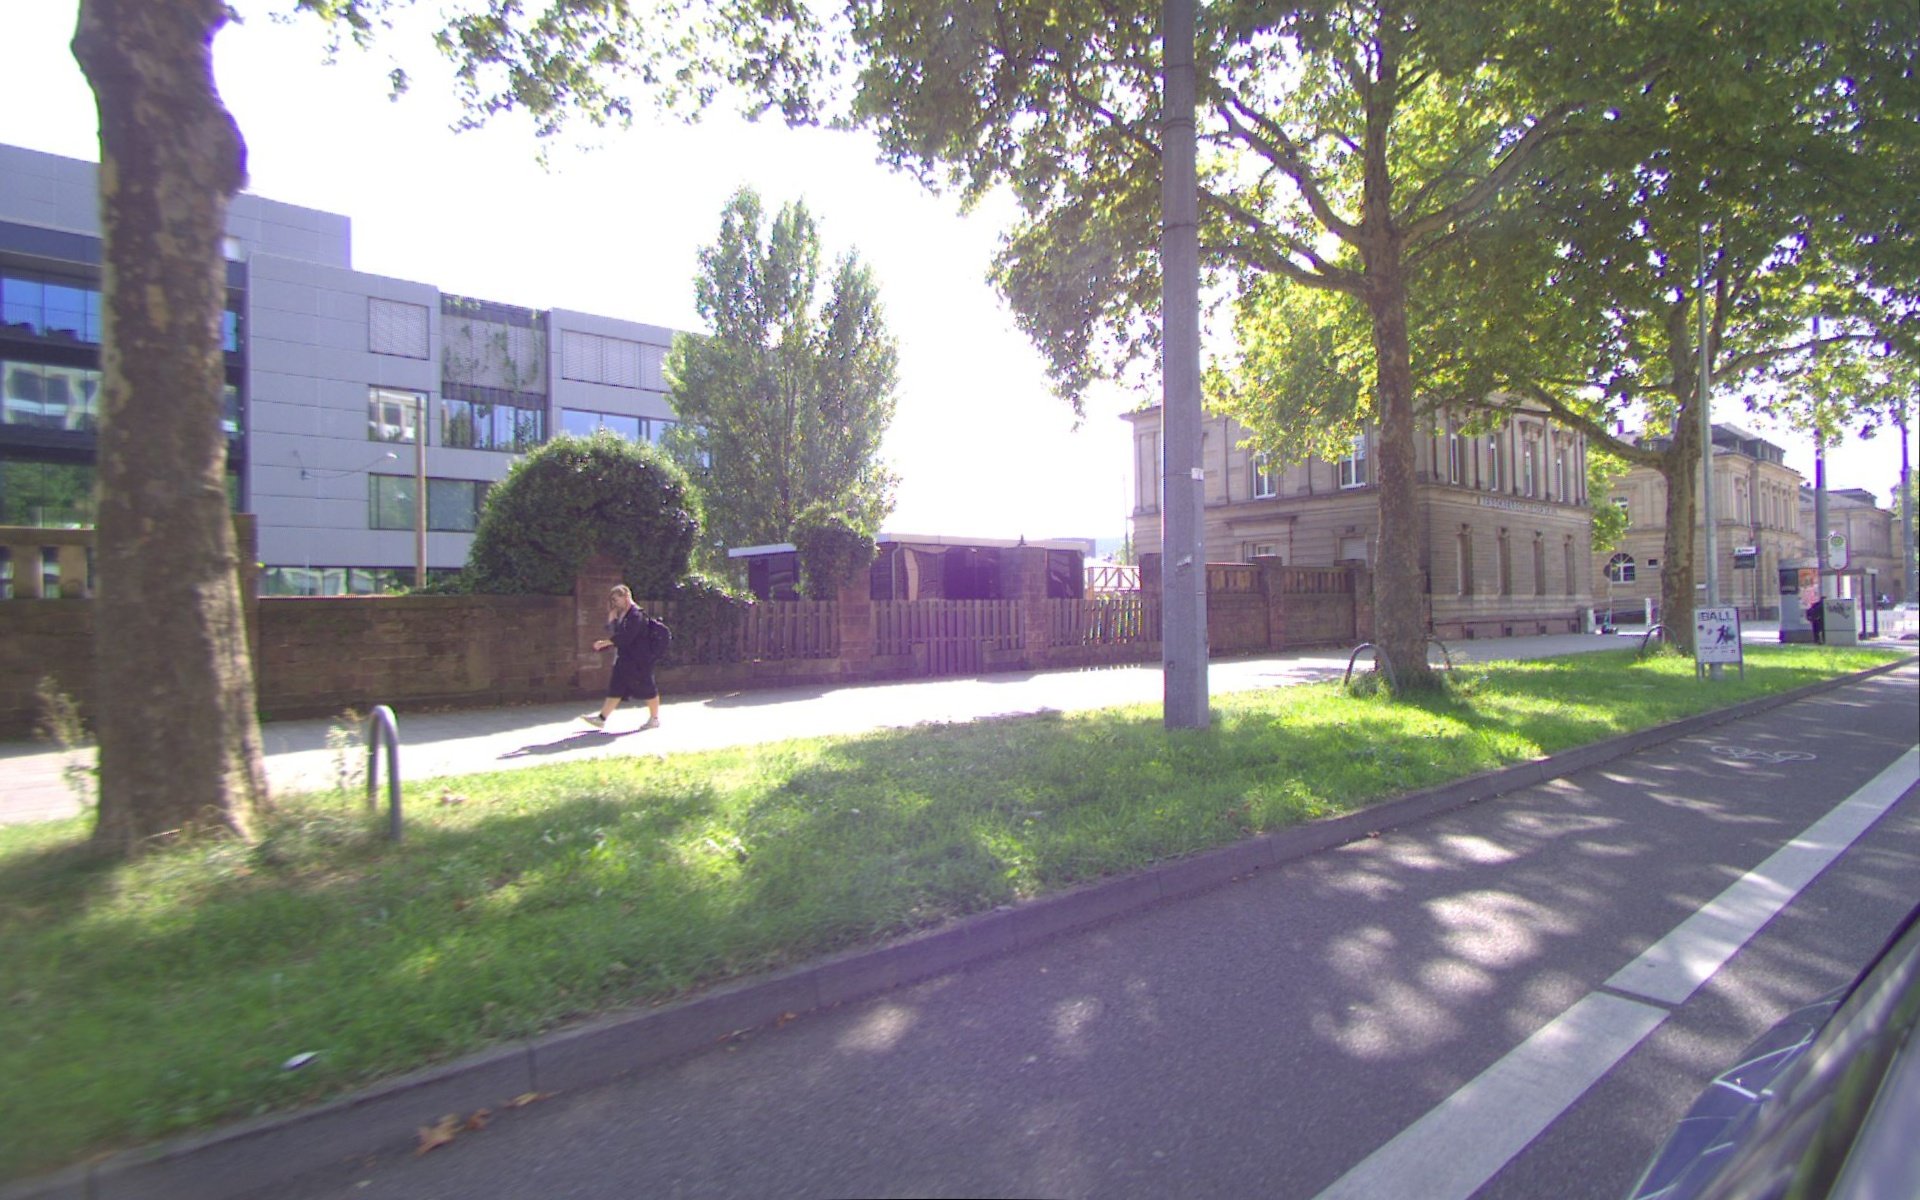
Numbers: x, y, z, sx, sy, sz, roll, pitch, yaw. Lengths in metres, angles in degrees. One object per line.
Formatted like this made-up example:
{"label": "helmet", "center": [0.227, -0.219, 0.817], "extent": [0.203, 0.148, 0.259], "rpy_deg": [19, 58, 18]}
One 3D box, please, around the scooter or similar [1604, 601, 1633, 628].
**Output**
{"label": "scooter or similar", "center": [31.029, 0.675, 47.689], "extent": [1.228, 1.226, 0.423], "rpy_deg": [1, -2, -18]}

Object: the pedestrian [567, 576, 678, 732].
{"label": "pedestrian", "center": [-3.914, 0.592, 11.733], "extent": [0.994, 1.708, 0.820], "rpy_deg": [0, -1, -40]}

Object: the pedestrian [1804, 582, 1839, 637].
{"label": "pedestrian", "center": [27.385, 0.295, 32.180], "extent": [0.683, 1.718, 0.642], "rpy_deg": [-1, -1, 29]}

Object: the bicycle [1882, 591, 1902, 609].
{"label": "bicycle", "center": [57.060, 0.009, 61.941], "extent": [1.871, 1.055, 0.718], "rpy_deg": [0, -2, -43]}

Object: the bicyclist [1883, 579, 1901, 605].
{"label": "bicyclist", "center": [57.138, -0.474, 62.026], "extent": [0.939, 1.563, 0.718], "rpy_deg": [1, -2, -43]}
